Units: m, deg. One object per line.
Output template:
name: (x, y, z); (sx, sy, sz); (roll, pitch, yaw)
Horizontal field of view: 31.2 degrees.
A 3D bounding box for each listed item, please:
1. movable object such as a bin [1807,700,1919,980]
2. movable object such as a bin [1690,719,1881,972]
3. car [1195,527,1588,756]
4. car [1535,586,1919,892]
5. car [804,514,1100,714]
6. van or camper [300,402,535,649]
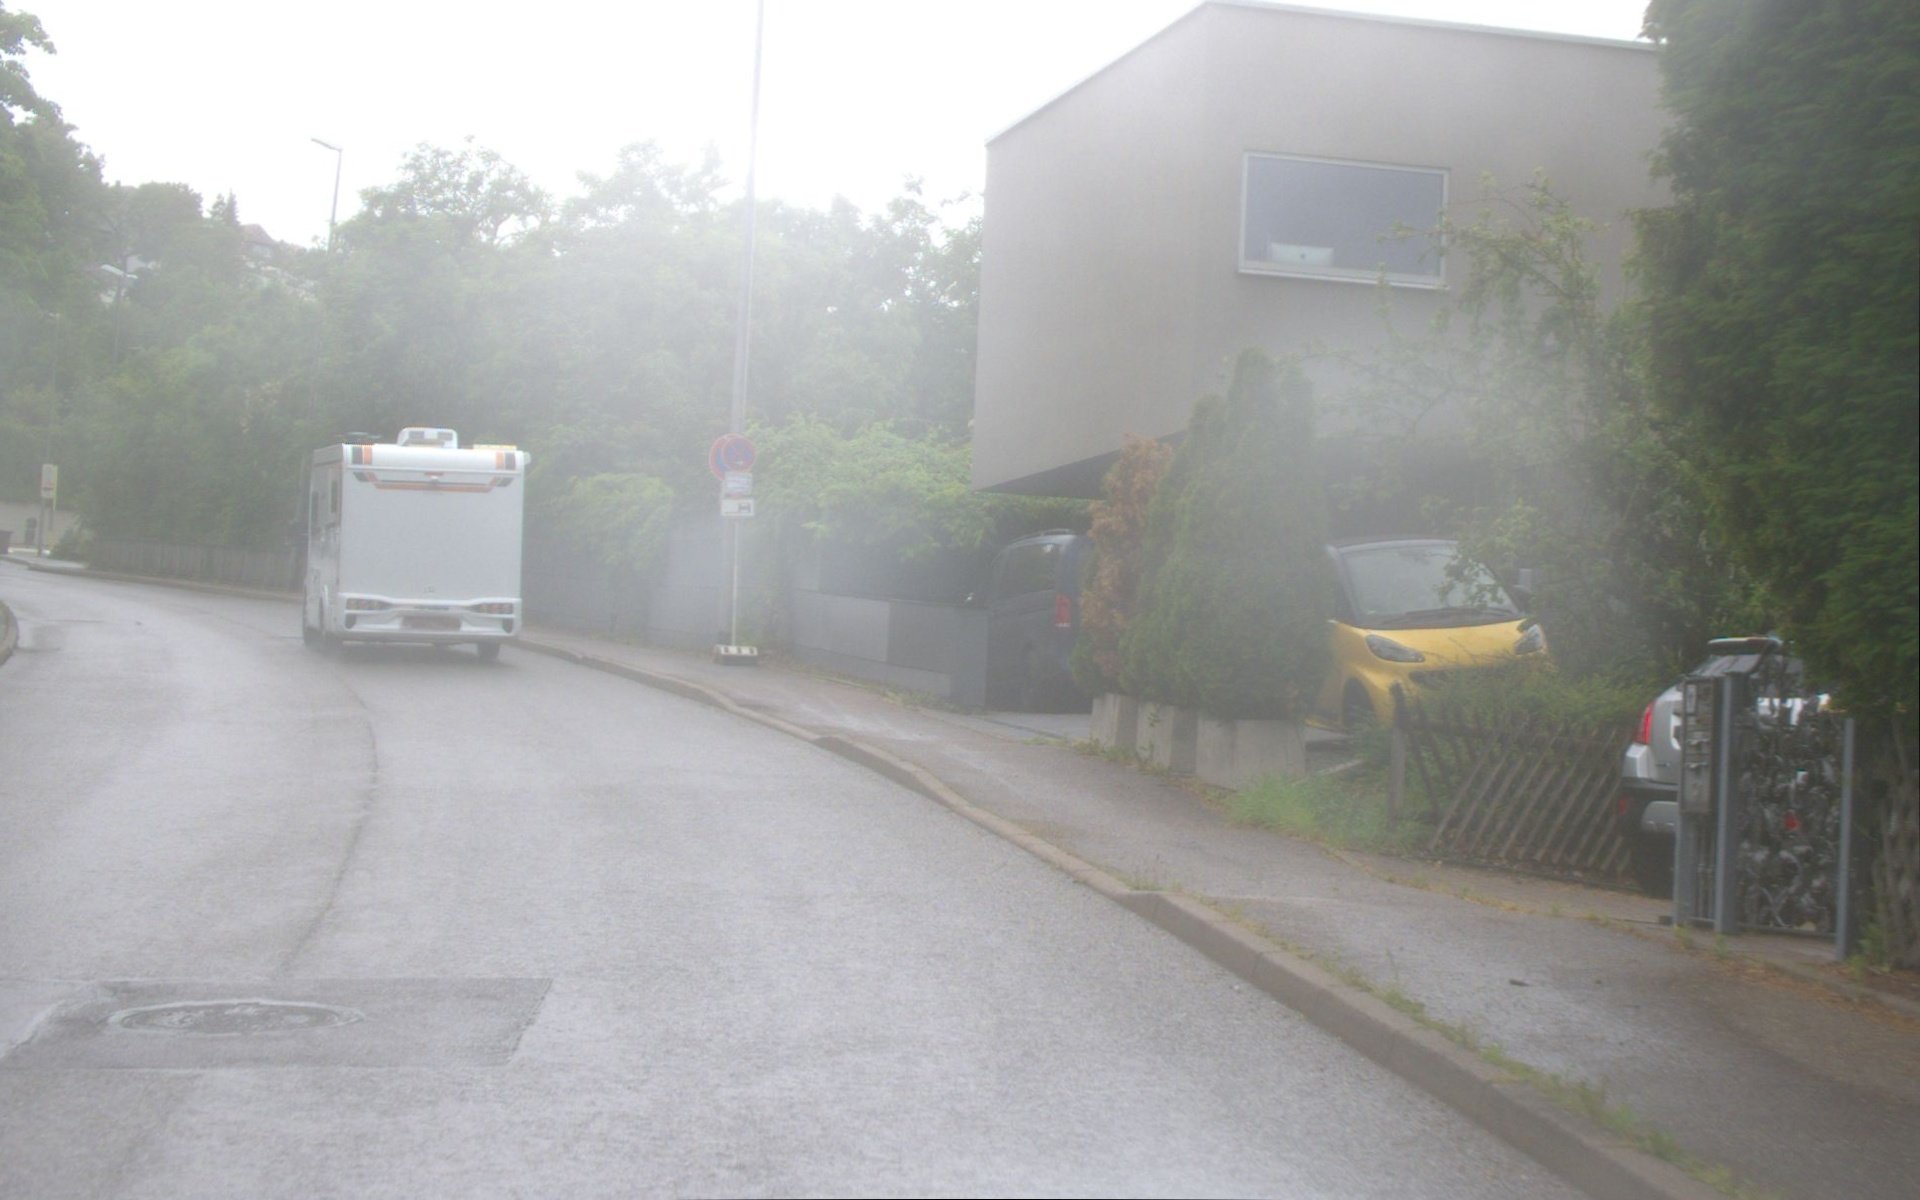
movable object such as a bin: (3.986, 1.015, 14.523); (0.504, 1.113, 0.595); (5, 0, -9)
movable object such as a bin: (3.448, 1.018, 14.391); (0.504, 0.966, 0.595); (5, 0, -9)
car: (3.136, 0.272, 25.634); (1.627, 1.488, 3.428); (-4, 1, -15)
car: (5.426, 0.821, 20.392); (3.761, 1.655, 1.776); (2, -3, -33)
car: (-0.172, 0.214, 36.401); (1.993, 1.934, 4.774); (2, -2, -14)
van or camper: (-7.079, -0.911, 44.327); (2.539, 2.915, 5.949); (1, 0, -13)
